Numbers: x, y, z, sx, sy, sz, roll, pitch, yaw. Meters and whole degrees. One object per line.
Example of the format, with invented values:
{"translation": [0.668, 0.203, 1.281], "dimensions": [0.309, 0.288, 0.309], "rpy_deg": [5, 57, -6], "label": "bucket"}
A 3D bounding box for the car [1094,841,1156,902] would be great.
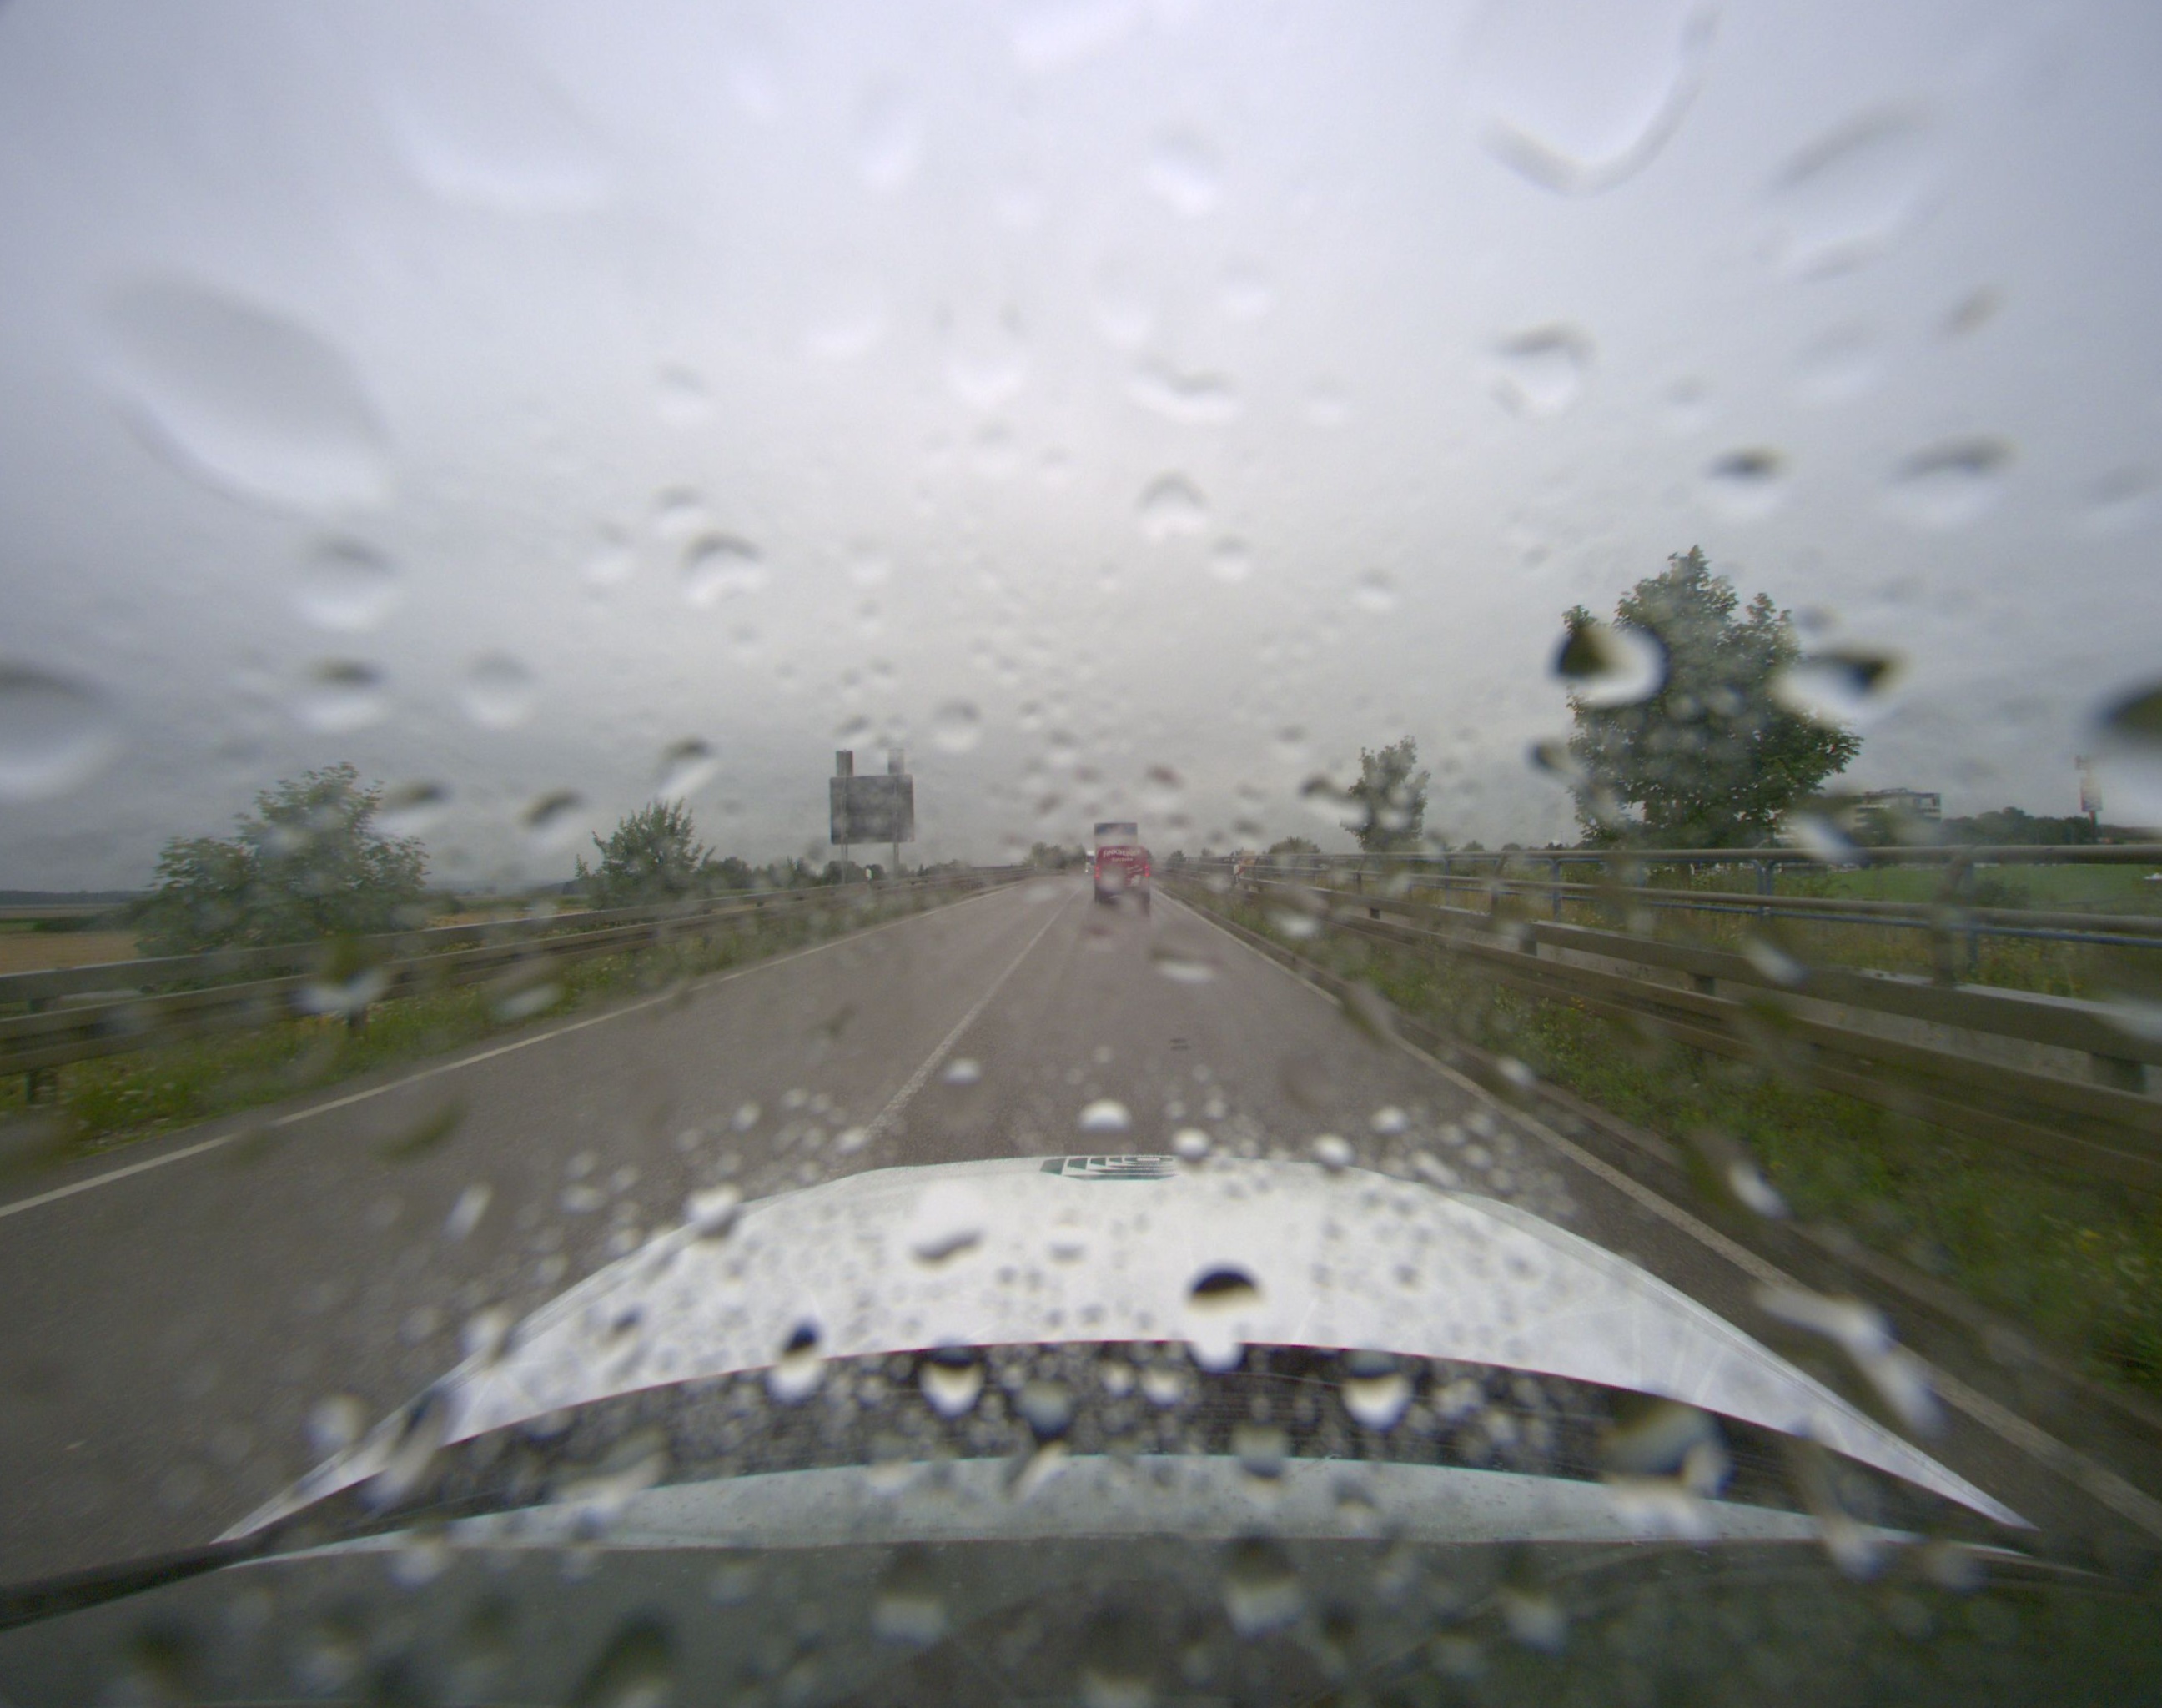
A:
{"translation": [1.446, 0.560, 28.118], "dimensions": [1.986, 1.925, 4.144], "rpy_deg": [0, 0, 1], "label": "car"}

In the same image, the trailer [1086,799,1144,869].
{"translation": [2.218, -1.079, 51.316], "dimensions": [3.188, 3.922, 8.746], "rpy_deg": [1, -1, 3], "label": "trailer"}

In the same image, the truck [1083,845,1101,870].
{"translation": [1.853, 0.591, 133.786], "dimensions": [2.808, 3.970, 8.765], "rpy_deg": [-1, -1, 1], "label": "truck"}
